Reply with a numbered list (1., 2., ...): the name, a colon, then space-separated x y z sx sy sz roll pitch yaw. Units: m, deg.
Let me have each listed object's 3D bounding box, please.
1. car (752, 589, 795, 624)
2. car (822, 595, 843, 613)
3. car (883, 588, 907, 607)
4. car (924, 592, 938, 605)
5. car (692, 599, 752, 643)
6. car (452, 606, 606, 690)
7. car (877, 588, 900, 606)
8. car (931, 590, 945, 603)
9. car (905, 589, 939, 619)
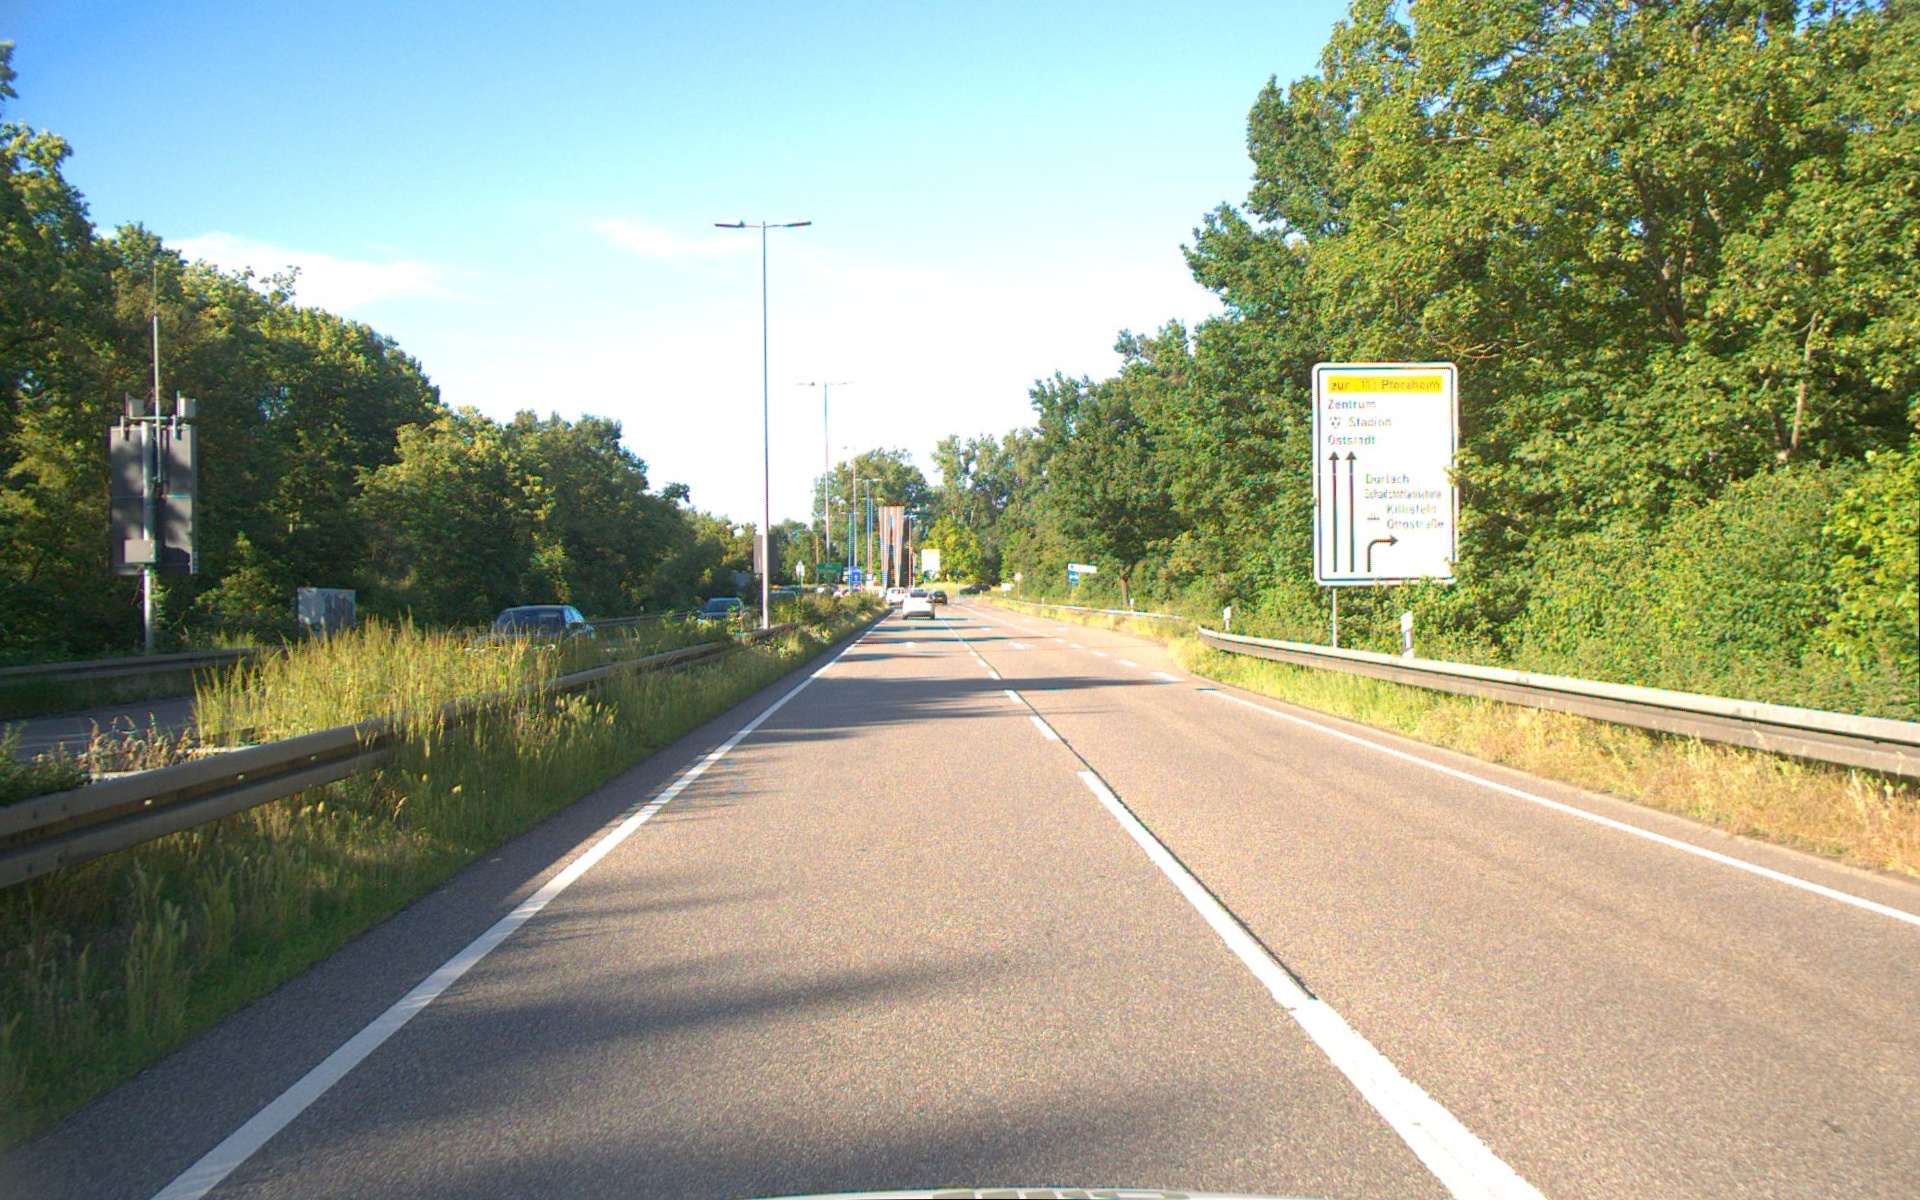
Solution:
1. car: -9.737 0.323 86.810 1.804 1.788 4.710 -1 0 -2
2. car: -12.507 0.379 162.620 1.749 1.740 4.545 -1 0 -2
3. car: -7.032 -0.272 178.834 1.957 1.912 4.240 -1 1 -10
4. car: -3.398 -0.166 192.319 1.591 1.303 2.986 2 -1 -2
5. car: -9.115 0.781 63.641 1.585 1.557 4.608 -1 0 0
6. car: -8.228 0.872 31.959 1.744 1.427 4.552 -1 0 0
7. car: -8.698 -0.379 200.026 1.960 2.049 3.985 1 -1 -14
8. car: -2.312 -0.383 174.496 1.360 1.303 2.986 2 -1 -2
9. car: -2.262 0.226 97.740 1.953 1.668 4.126 -1 1 -2
